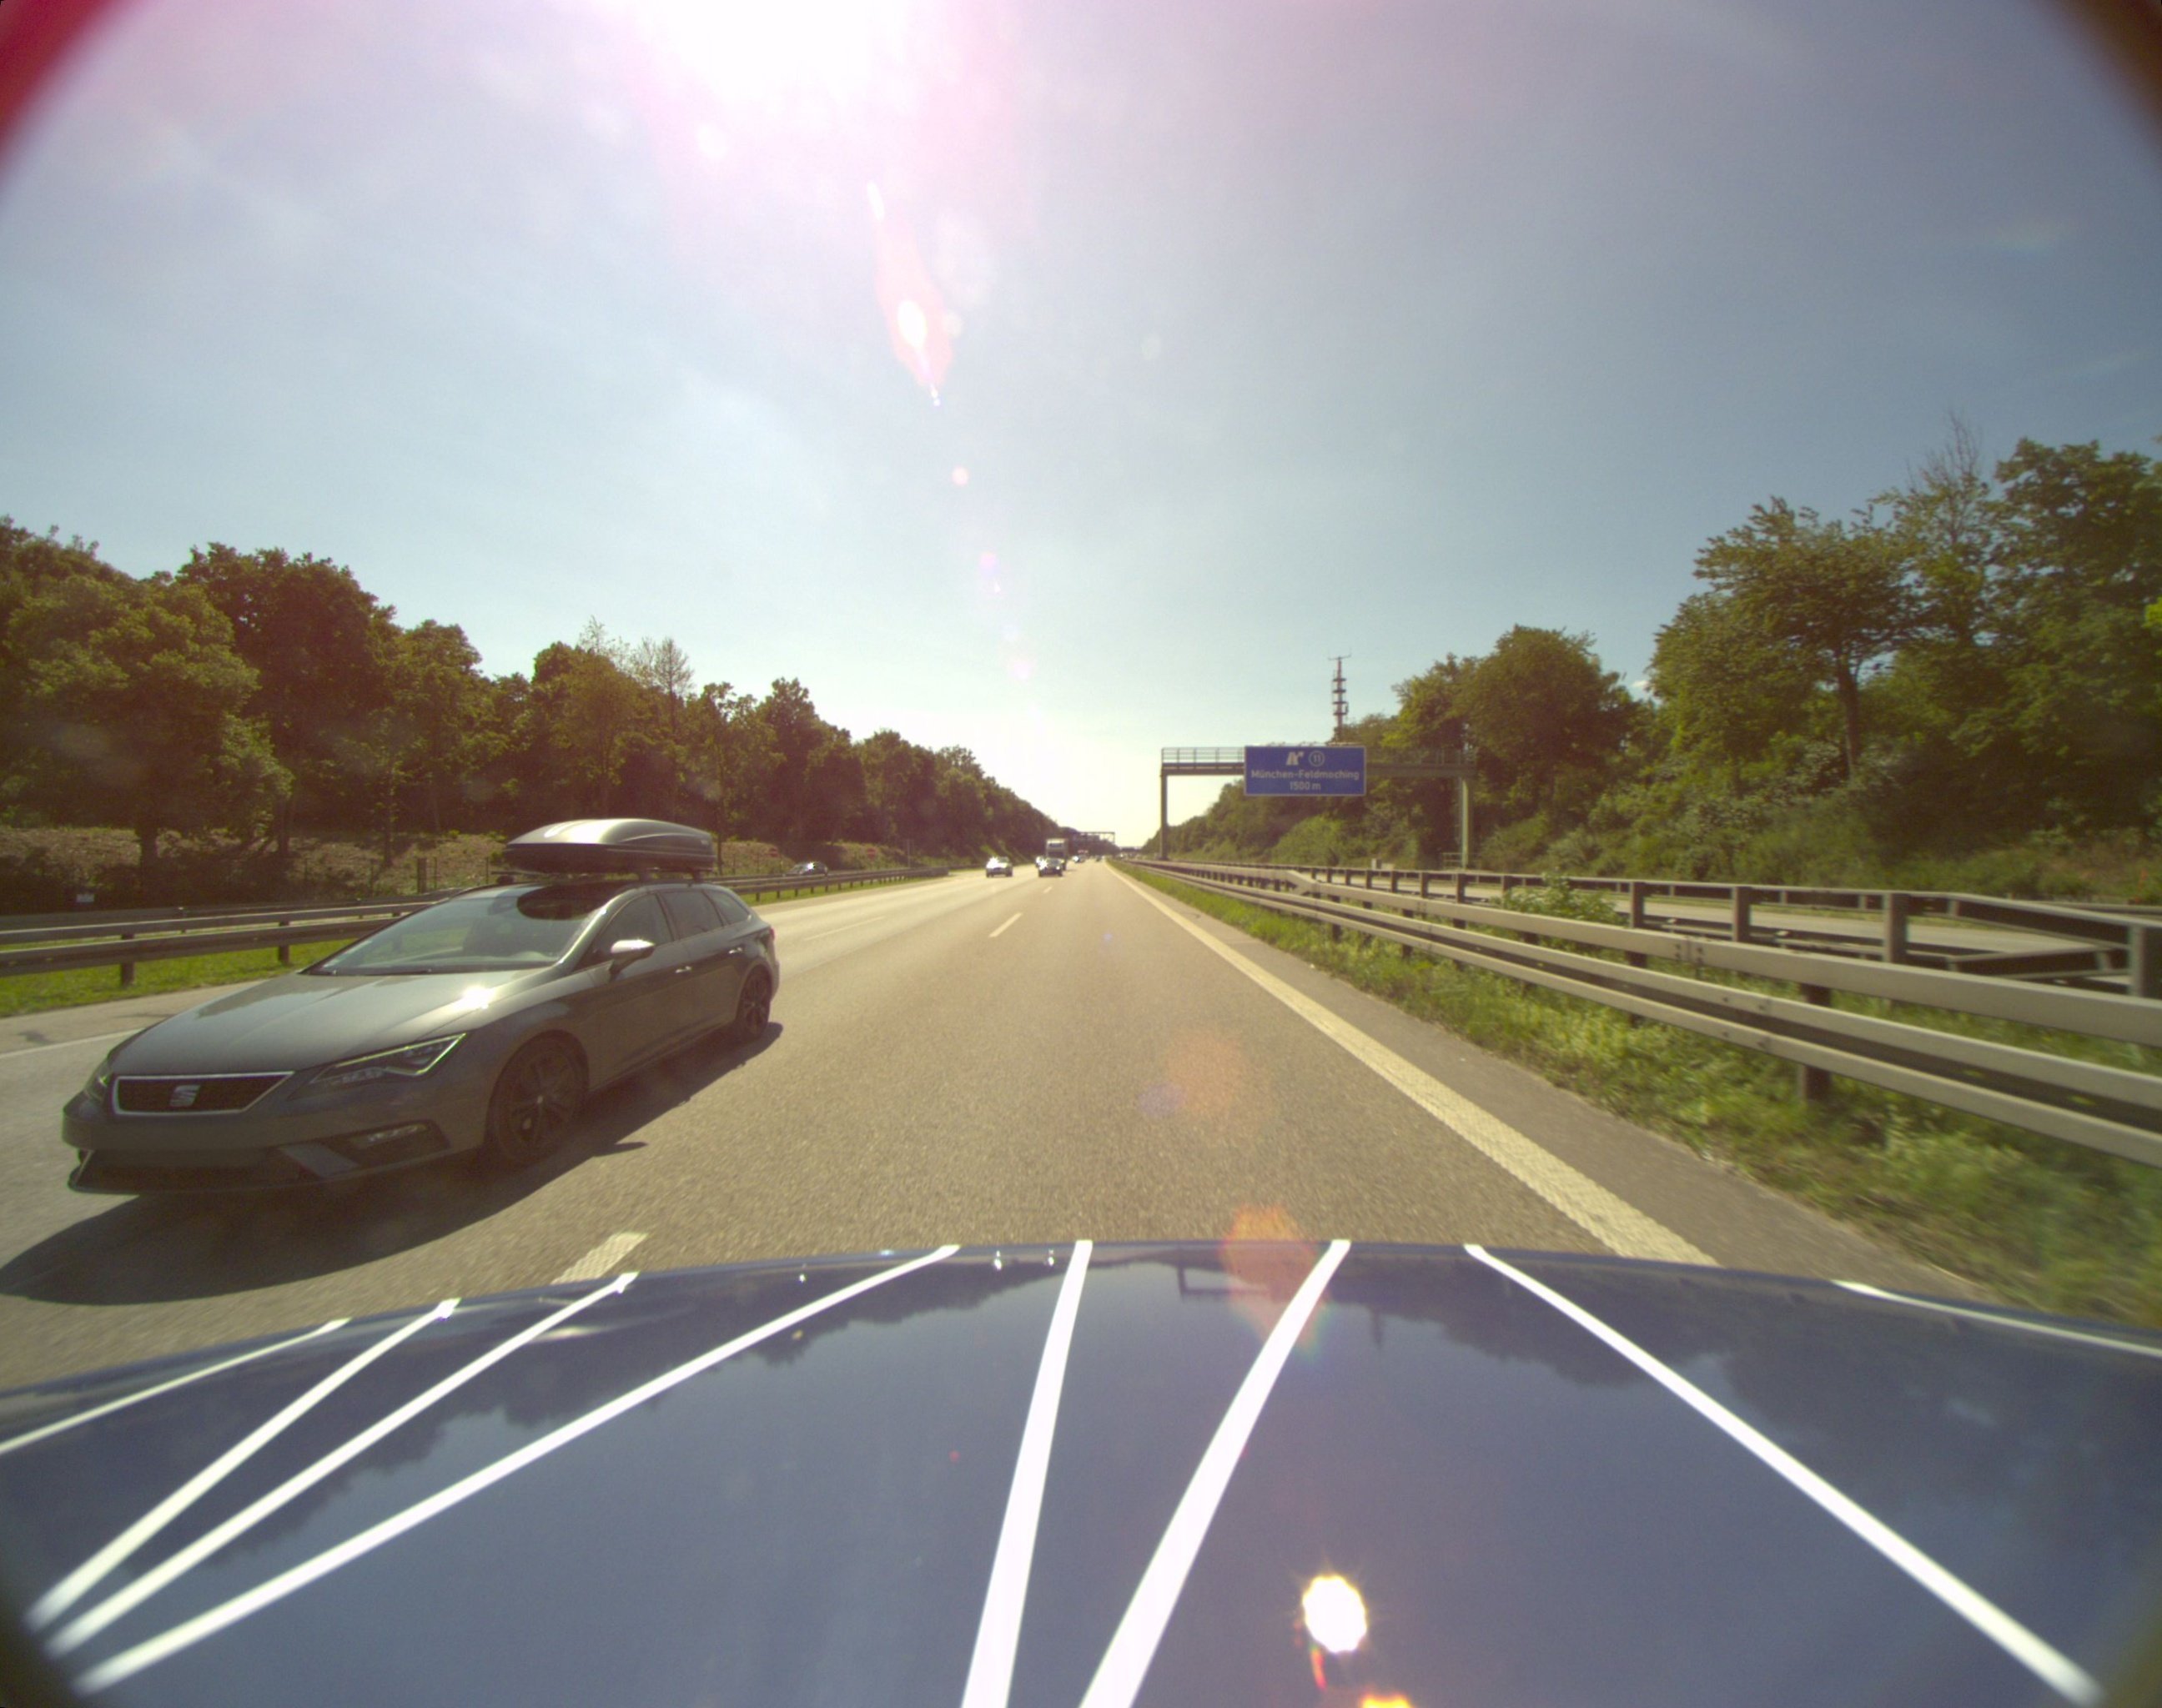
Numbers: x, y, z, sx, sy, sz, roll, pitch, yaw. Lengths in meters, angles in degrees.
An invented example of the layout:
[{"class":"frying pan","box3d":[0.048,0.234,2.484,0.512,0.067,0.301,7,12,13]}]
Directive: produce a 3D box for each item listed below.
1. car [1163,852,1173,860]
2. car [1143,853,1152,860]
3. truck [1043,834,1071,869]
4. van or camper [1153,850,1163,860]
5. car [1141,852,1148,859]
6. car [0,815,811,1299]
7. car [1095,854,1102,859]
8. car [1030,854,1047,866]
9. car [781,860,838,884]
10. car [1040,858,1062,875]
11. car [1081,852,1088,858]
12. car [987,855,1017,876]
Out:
[{"class":"car","box3d":[16.672,0.464,145.878,1.669,1.455,3.883,2,0,2]},{"class":"car","box3d":[16.595,0.593,190.905,1.883,1.601,5.310,1,0,1]},{"class":"truck","box3d":[-2.616,-0.259,84.991,2.676,3.660,6.484,-1,0,2]},{"class":"van or camper","box3d":[21.686,0.243,214.318,2.043,2.544,6.198,1,0,1]},{"class":"car","box3d":[18.898,0.455,227.666,1.750,1.819,5.169,1,0,1]},{"class":"car","box3d":[-3.608,0.787,5.341,1.669,1.865,4.827,0,0,0]},{"class":"car","box3d":[4.276,0.564,185.191,1.591,1.291,3.383,0,0,2]},{"class":"car","box3d":[-6.256,0.894,113.320,1.924,1.659,4.688,-2,0,4]},{"class":"car","box3d":[-19.562,1.276,54.887,1.767,1.559,4.262,-2,0,13]},{"class":"car","box3d":[-2.300,0.923,59.121,1.537,1.265,2.770,-1,0,2]},{"class":"car","box3d":[0.842,0.193,197.582,1.715,1.477,4.000,-1,0,1]},{"class":"car","box3d":[-6.518,0.936,63.120,1.847,1.559,4.036,-2,0,2]}]
